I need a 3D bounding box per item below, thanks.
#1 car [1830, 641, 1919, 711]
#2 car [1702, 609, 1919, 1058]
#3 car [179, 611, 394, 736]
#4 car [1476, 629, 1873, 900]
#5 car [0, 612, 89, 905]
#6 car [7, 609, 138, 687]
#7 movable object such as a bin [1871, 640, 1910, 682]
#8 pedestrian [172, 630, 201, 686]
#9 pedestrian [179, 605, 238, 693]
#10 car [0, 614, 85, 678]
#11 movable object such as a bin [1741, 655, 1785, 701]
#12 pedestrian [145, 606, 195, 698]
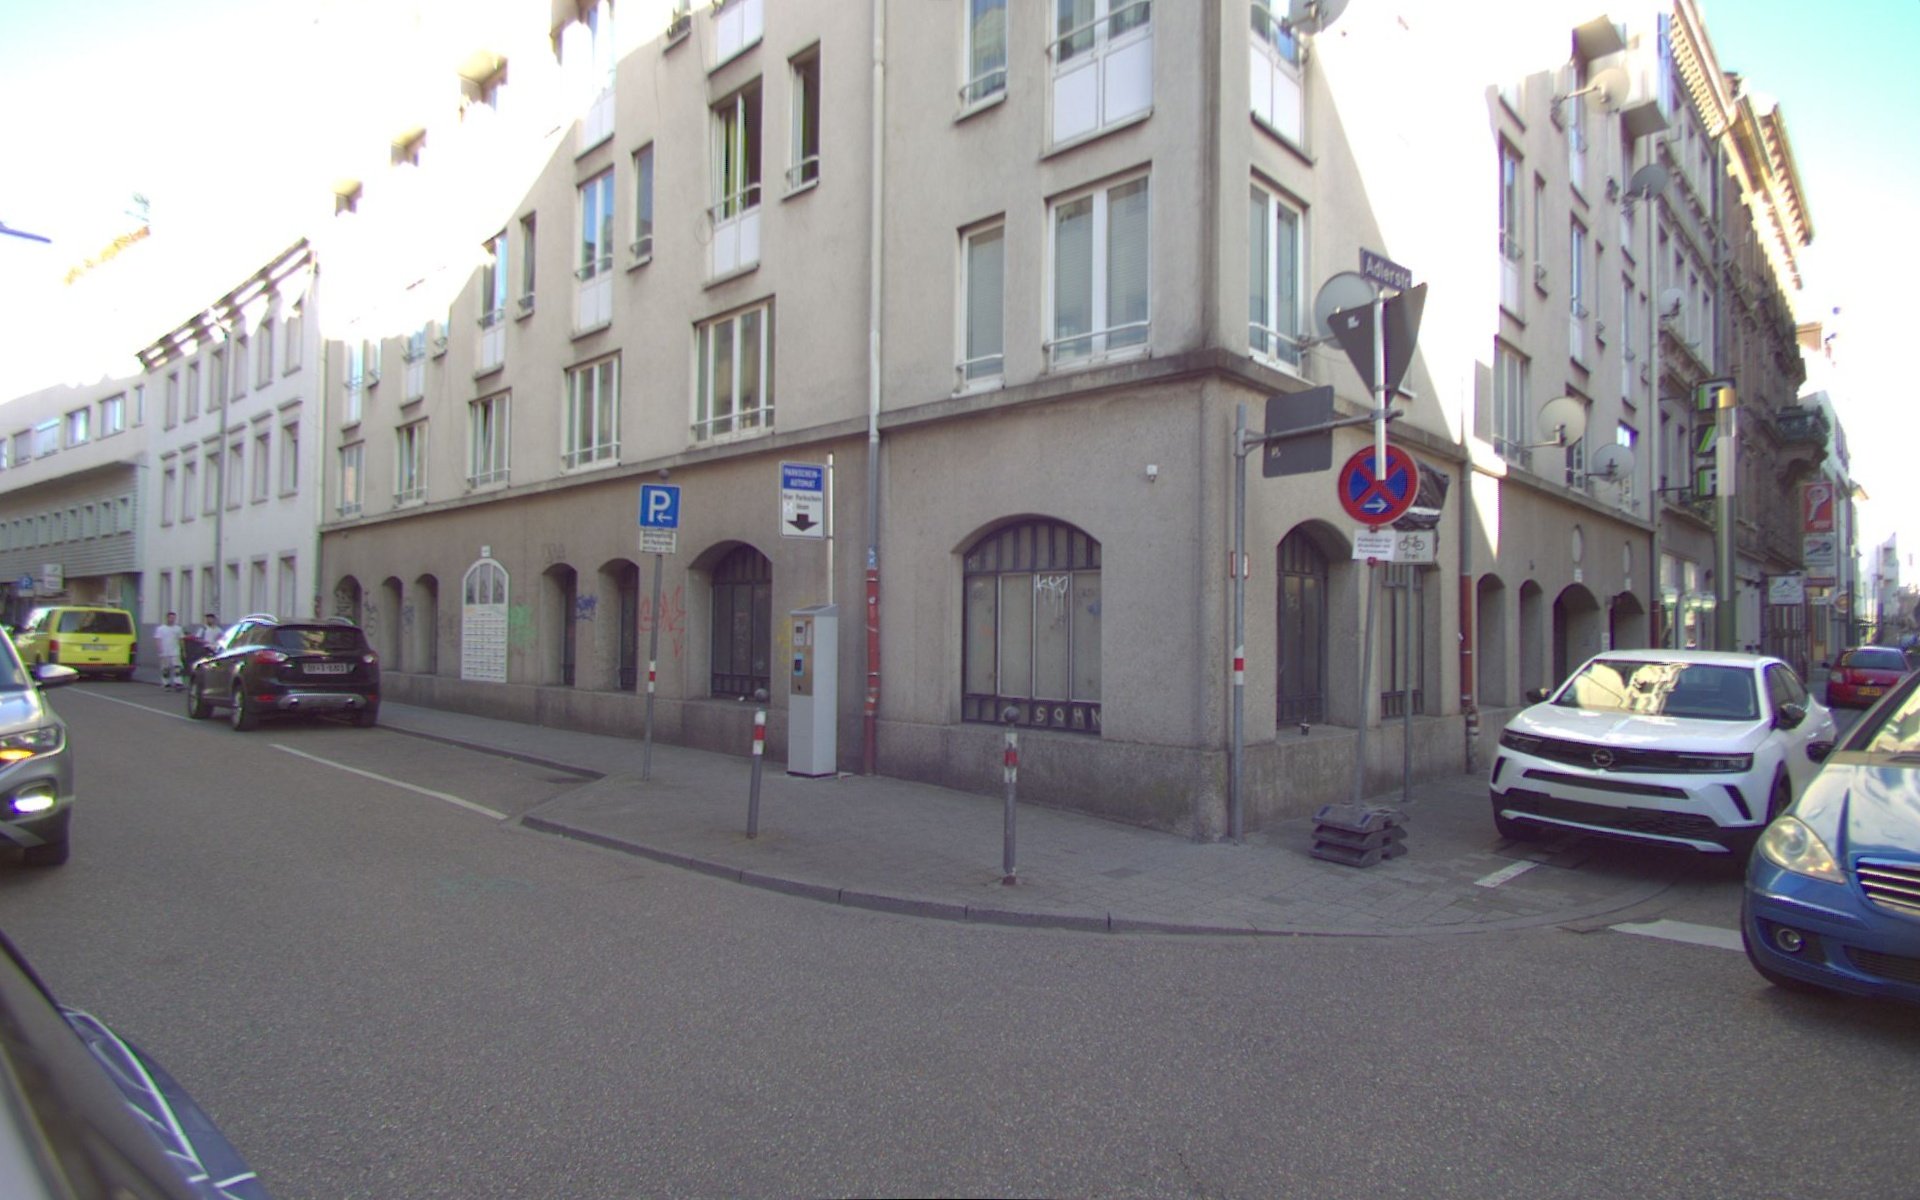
[{"bbox_3d":[22.833,1.833,25.161,1.793,1.537,3.945,0,-1,41],"label":"car"},{"bbox_3d":[5.190,0.872,4.387,3.741,1.605,1.862,2,-4,-32],"label":"car"},{"bbox_3d":[-10.696,1.111,15.971,4.000,1.717,1.863,-1,-5,43],"label":"car"},{"bbox_3d":[5.821,1.077,8.072,3.908,1.605,1.746,3,-2,-42],"label":"car"},{"bbox_3d":[-6.973,0.861,6.317,3.998,1.558,1.740,-1,-3,41],"label":"car"},{"bbox_3d":[-23.291,1.205,26.521,3.995,1.888,1.865,-1,-2,38],"label":"car"},{"bbox_3d":[35.912,2.337,39.062,1.083,1.555,0.895,0,-1,42],"label":"movable object such as a bin"},{"bbox_3d":[-20.536,1.523,26.867,0.548,1.459,0.583,2,-3,-39],"label":"pedestrian"},{"bbox_3d":[-17.596,1.140,23.704,0.698,2.029,0.925,-1,-3,40],"label":"pedestrian"},{"bbox_3d":[-28.237,1.390,30.614,3.995,1.781,1.865,-1,-5,38],"label":"car"},{"bbox_3d":[20.005,1.924,25.215,0.837,1.056,0.744,-1,0,40],"label":"movable object such as a bin"},{"bbox_3d":[-17.834,1.157,22.849,0.698,2.029,0.706,-1,-3,40],"label":"pedestrian"}]
